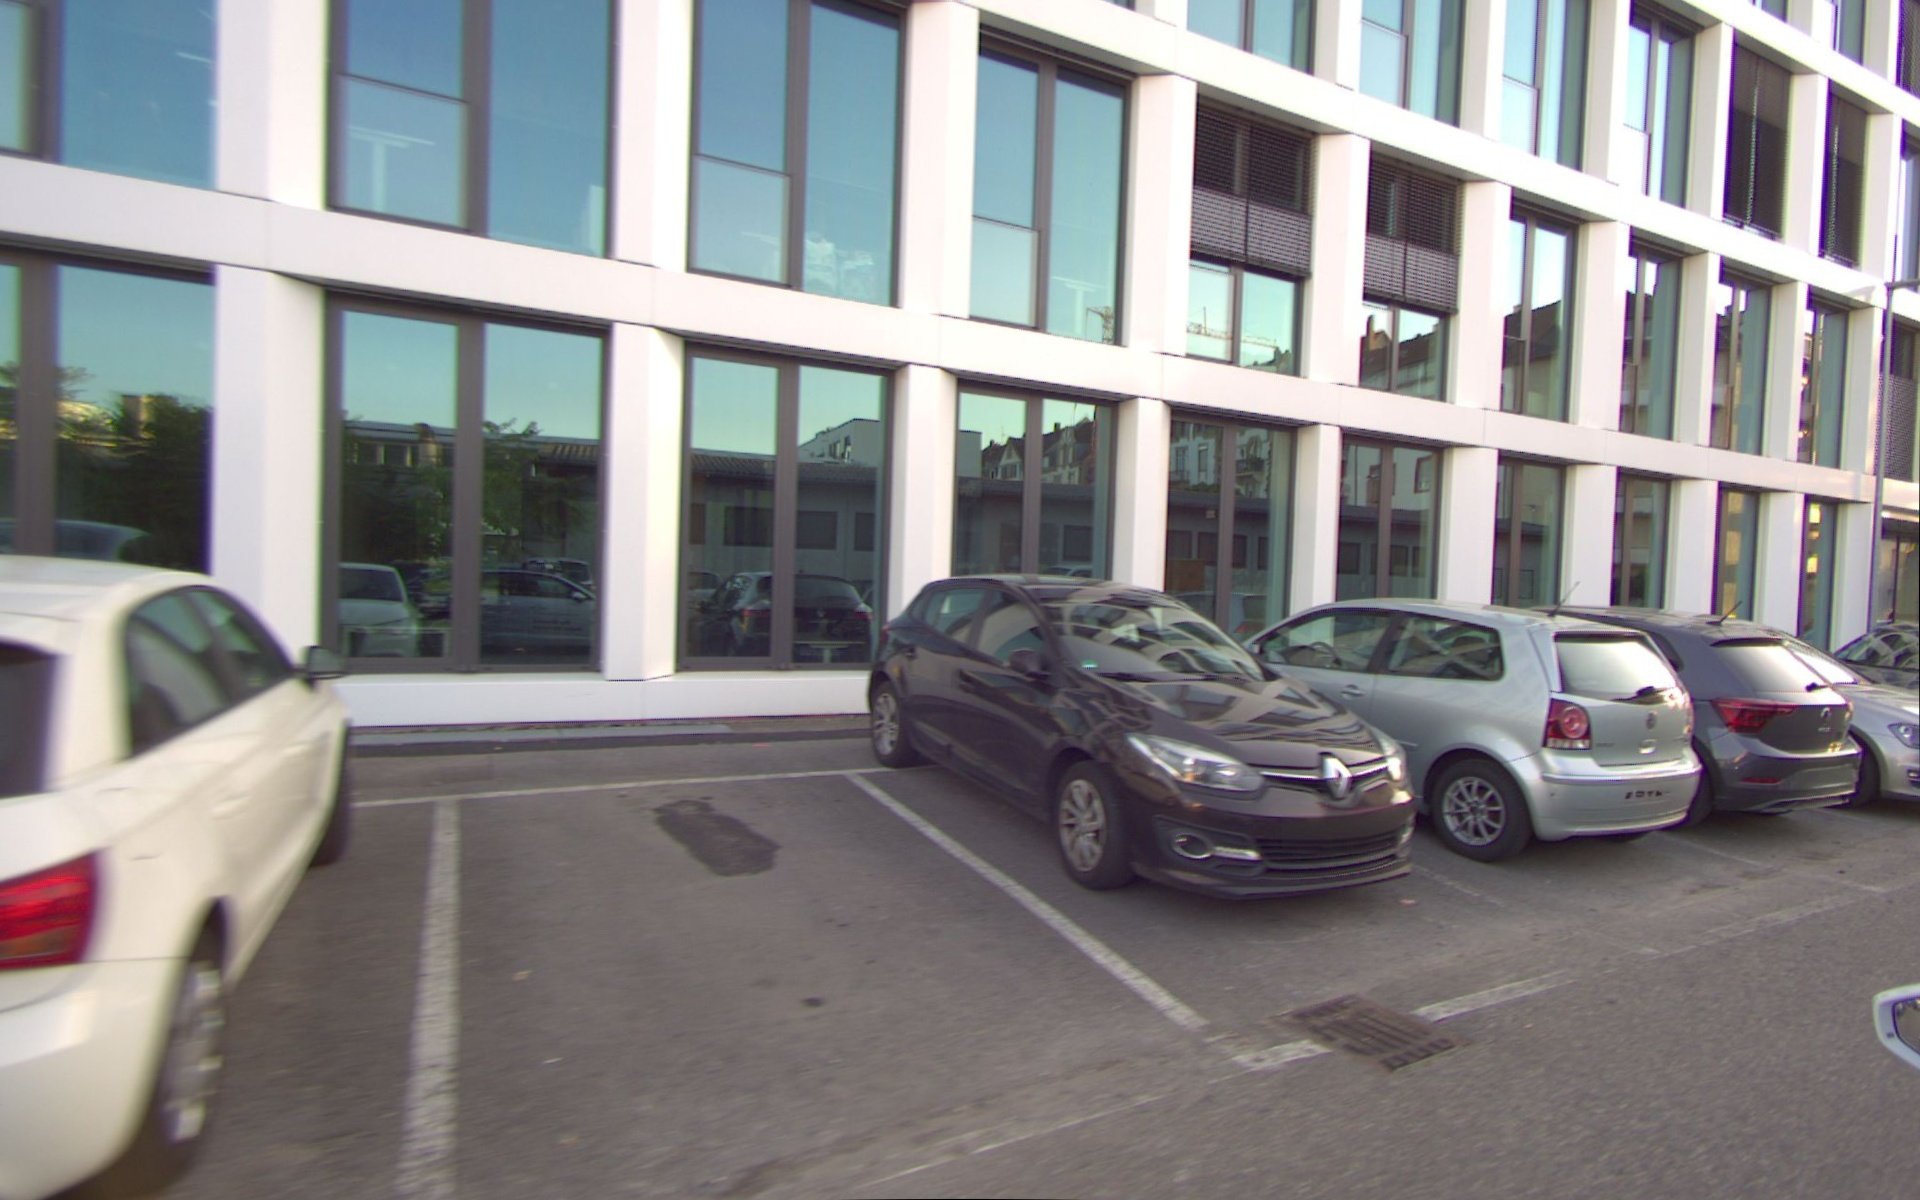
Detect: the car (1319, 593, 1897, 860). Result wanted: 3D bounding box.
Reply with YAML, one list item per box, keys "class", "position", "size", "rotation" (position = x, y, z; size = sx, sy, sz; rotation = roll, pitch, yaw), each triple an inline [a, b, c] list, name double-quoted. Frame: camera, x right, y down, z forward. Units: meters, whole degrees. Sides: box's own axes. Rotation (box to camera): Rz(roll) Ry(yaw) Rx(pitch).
- class: "car"
  position: [5.016, 0.801, 8.336]
  size: [1.666, 1.532, 3.640]
  rotation: [1, 2, -27]

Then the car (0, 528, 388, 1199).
- class: "car"
  position: [-2.988, 0.542, 3.165]
  size: [1.673, 1.532, 3.656]
  rotation: [1, 2, -24]

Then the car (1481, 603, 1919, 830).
- class: "car"
  position: [7.278, 0.909, 9.502]
  size: [1.666, 1.532, 3.912]
  rotation: [1, 2, -26]

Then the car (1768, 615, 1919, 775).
- class: "car"
  position: [11.167, 1.022, 11.351]
  size: [4.151, 1.458, 1.640]
  rotation: [2, 5, -29]

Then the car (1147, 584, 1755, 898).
- class: "car"
  position: [3.170, 0.729, 7.268]
  size: [1.666, 1.532, 3.640]
  rotation: [1, 2, -27]

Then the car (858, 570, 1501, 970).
- class: "car"
  position: [0.909, 0.649, 6.206]
  size: [1.772, 1.532, 3.950]
  rotation: [1, 2, -26]
